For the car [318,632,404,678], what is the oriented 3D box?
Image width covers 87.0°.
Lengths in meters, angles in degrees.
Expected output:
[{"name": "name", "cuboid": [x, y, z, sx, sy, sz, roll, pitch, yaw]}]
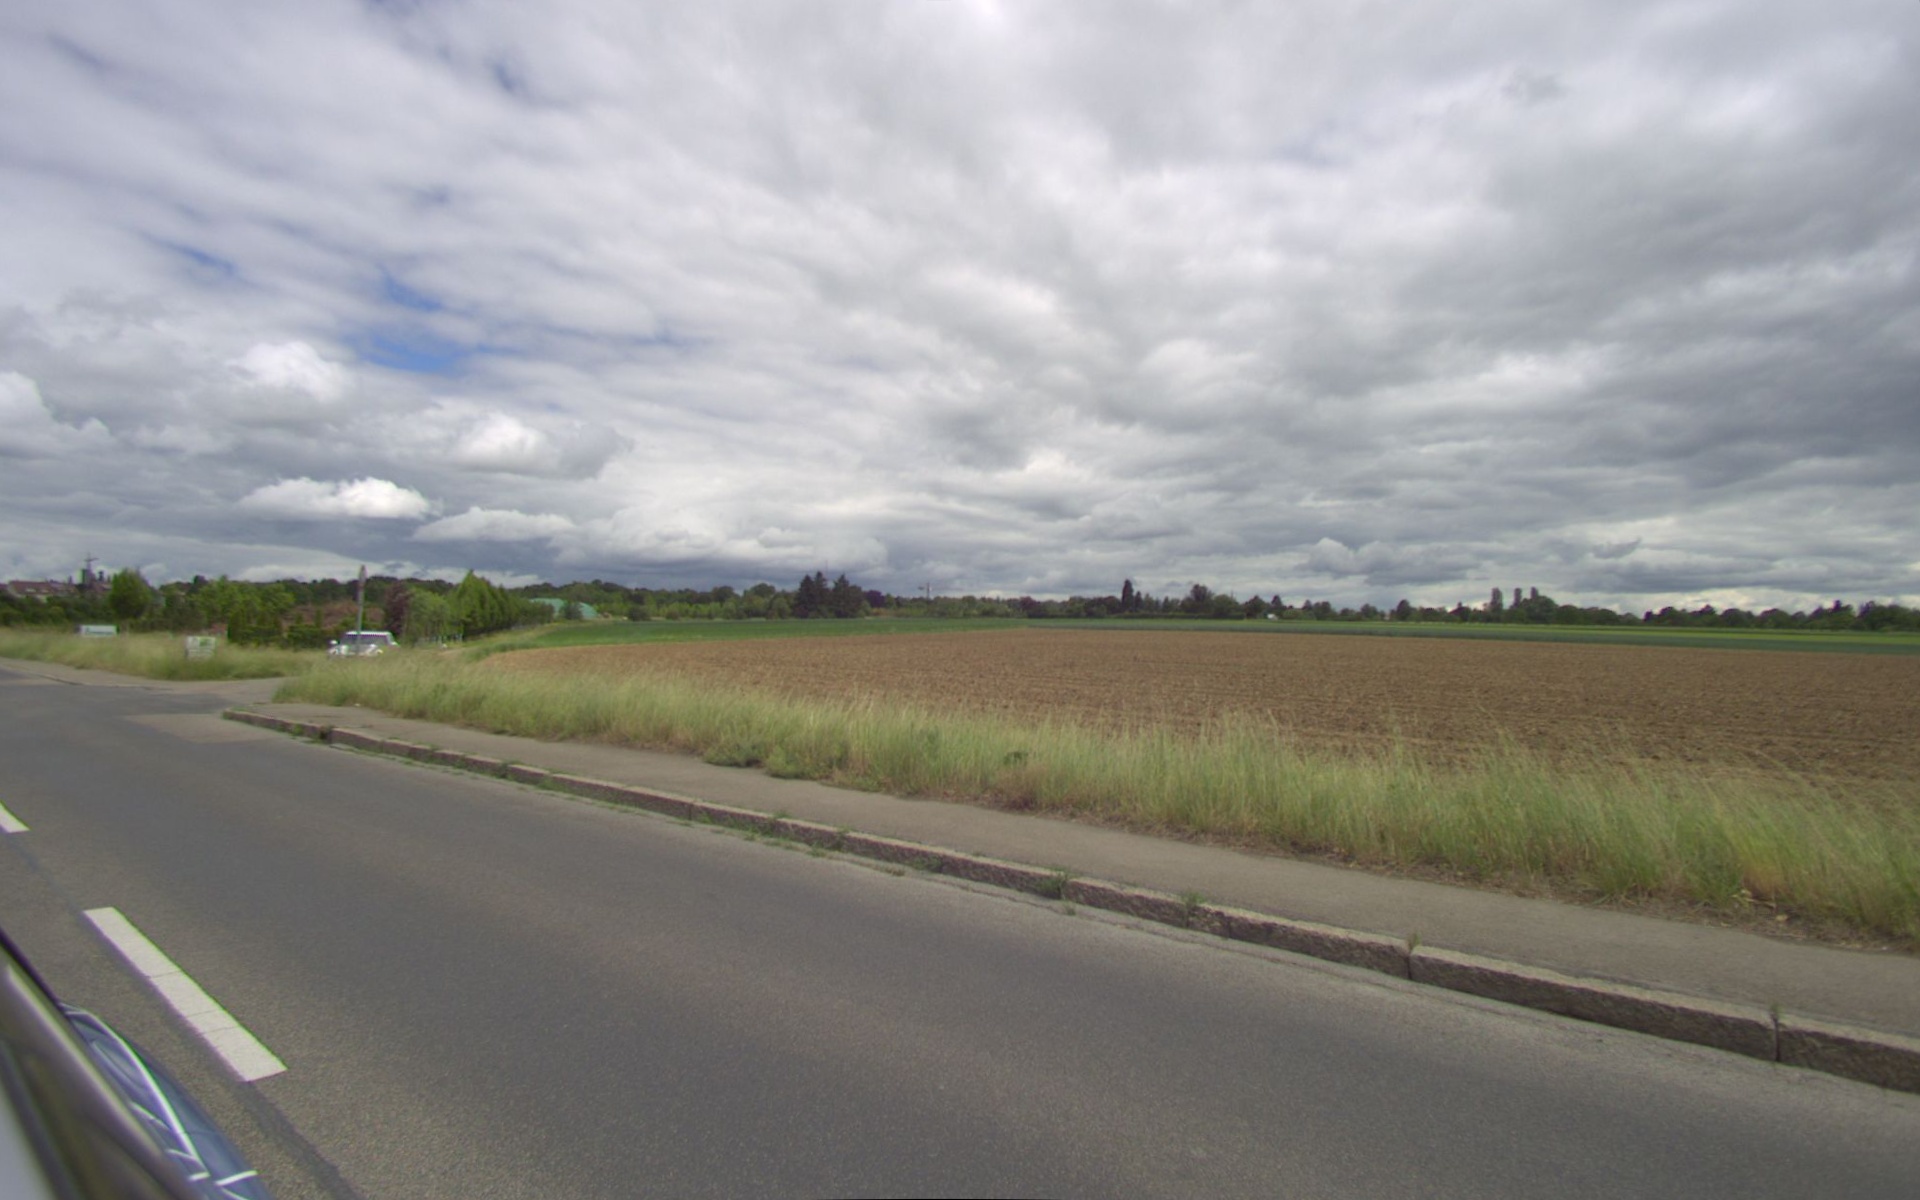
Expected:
[{"name": "car", "cuboid": [-20.593, 1.875, 34.965, 1.941, 1.465, 4.013, 1, -3, -22]}]
